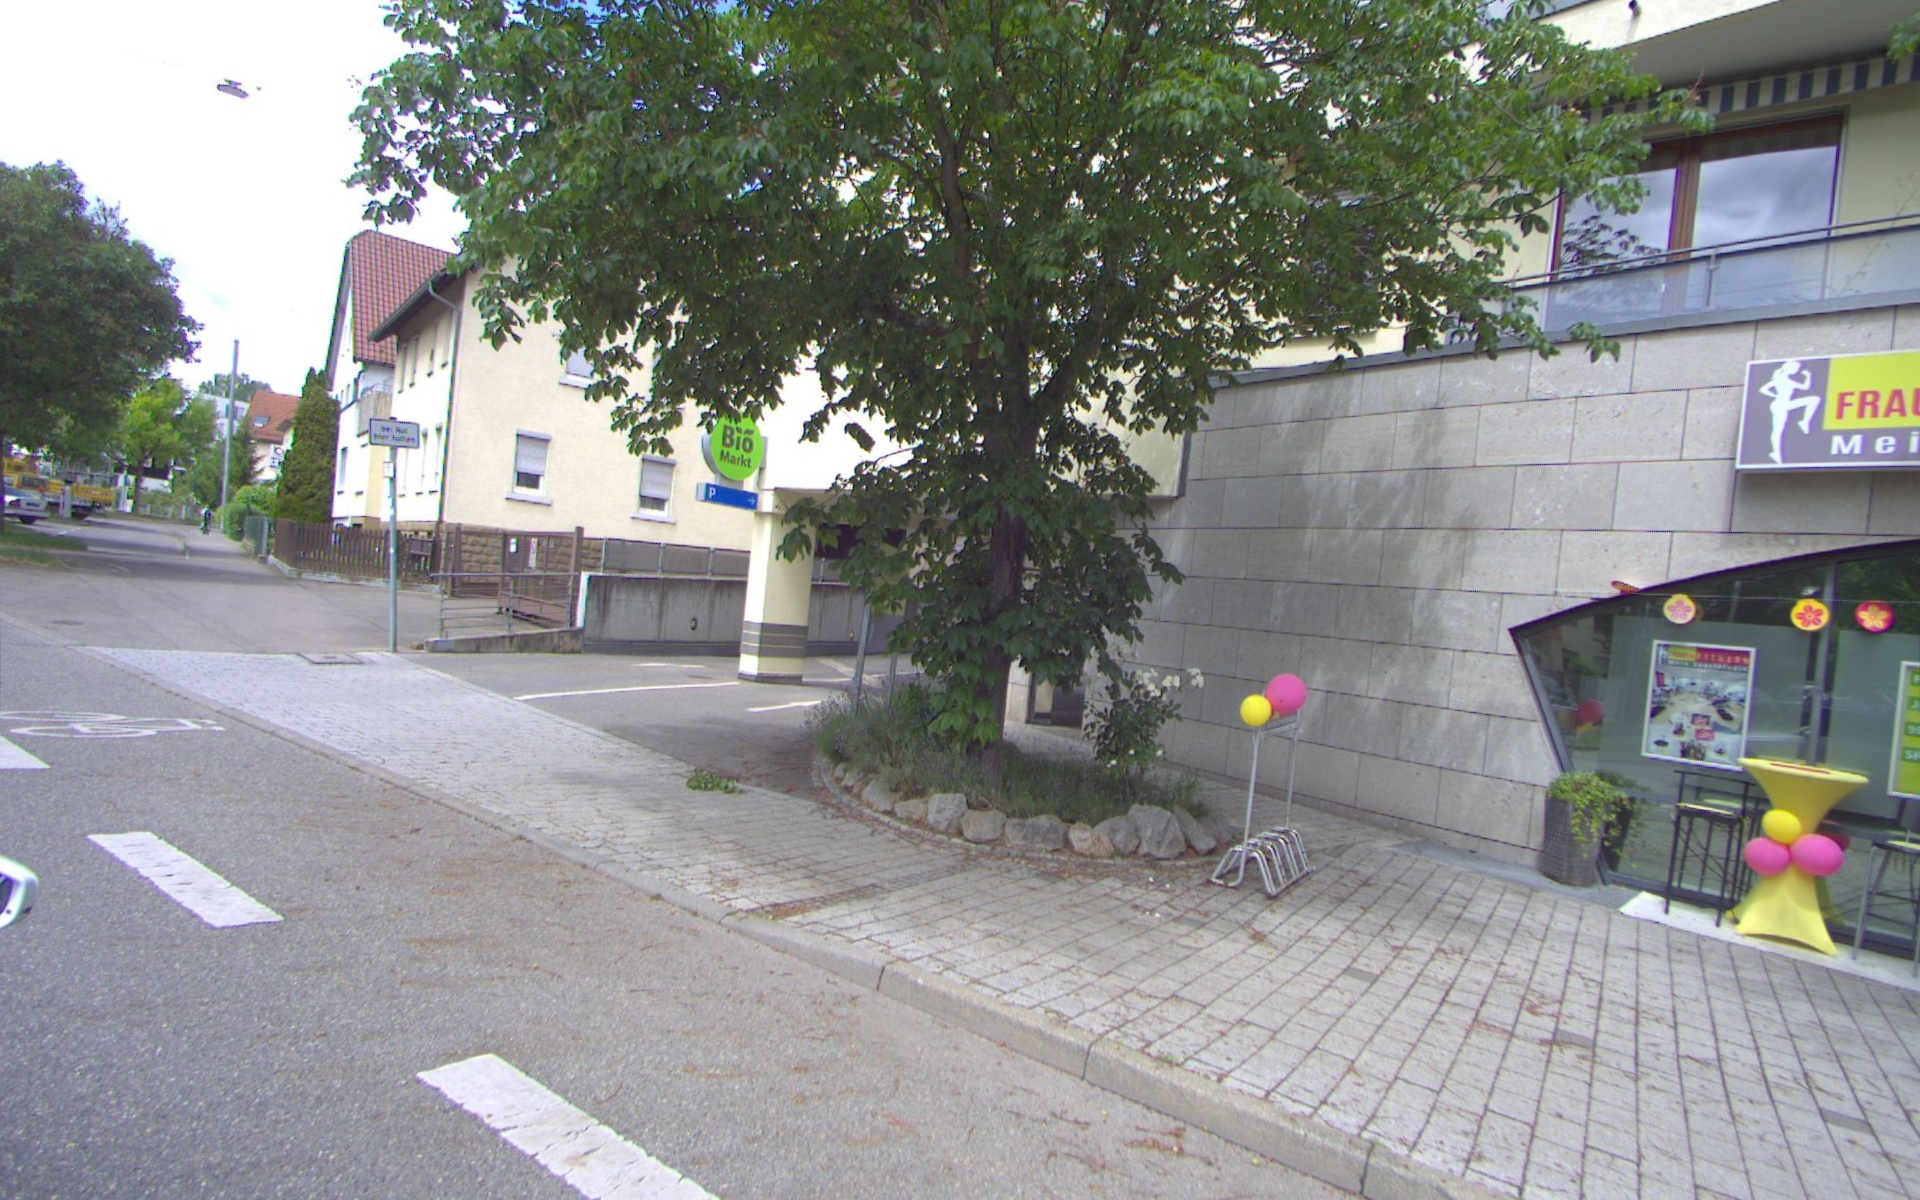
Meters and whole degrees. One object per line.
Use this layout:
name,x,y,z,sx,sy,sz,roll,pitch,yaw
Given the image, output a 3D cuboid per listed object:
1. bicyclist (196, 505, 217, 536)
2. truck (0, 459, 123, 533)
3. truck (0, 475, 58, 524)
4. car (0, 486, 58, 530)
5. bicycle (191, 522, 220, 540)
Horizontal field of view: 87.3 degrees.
bicyclist,-41.505,-4.371,55.410,0.557,1.577,0.590,6,-2,31
truck,-49.543,-5.678,53.949,6.585,3.042,2.771,8,-2,-2
truck,-49.485,-5.360,50.847,5.575,2.036,2.001,8,-2,-3
car,-39.234,-3.917,40.235,4.603,1.469,1.768,7,0,0
bicycle,-41.558,-3.790,55.388,1.725,0.821,0.595,6,-2,31
